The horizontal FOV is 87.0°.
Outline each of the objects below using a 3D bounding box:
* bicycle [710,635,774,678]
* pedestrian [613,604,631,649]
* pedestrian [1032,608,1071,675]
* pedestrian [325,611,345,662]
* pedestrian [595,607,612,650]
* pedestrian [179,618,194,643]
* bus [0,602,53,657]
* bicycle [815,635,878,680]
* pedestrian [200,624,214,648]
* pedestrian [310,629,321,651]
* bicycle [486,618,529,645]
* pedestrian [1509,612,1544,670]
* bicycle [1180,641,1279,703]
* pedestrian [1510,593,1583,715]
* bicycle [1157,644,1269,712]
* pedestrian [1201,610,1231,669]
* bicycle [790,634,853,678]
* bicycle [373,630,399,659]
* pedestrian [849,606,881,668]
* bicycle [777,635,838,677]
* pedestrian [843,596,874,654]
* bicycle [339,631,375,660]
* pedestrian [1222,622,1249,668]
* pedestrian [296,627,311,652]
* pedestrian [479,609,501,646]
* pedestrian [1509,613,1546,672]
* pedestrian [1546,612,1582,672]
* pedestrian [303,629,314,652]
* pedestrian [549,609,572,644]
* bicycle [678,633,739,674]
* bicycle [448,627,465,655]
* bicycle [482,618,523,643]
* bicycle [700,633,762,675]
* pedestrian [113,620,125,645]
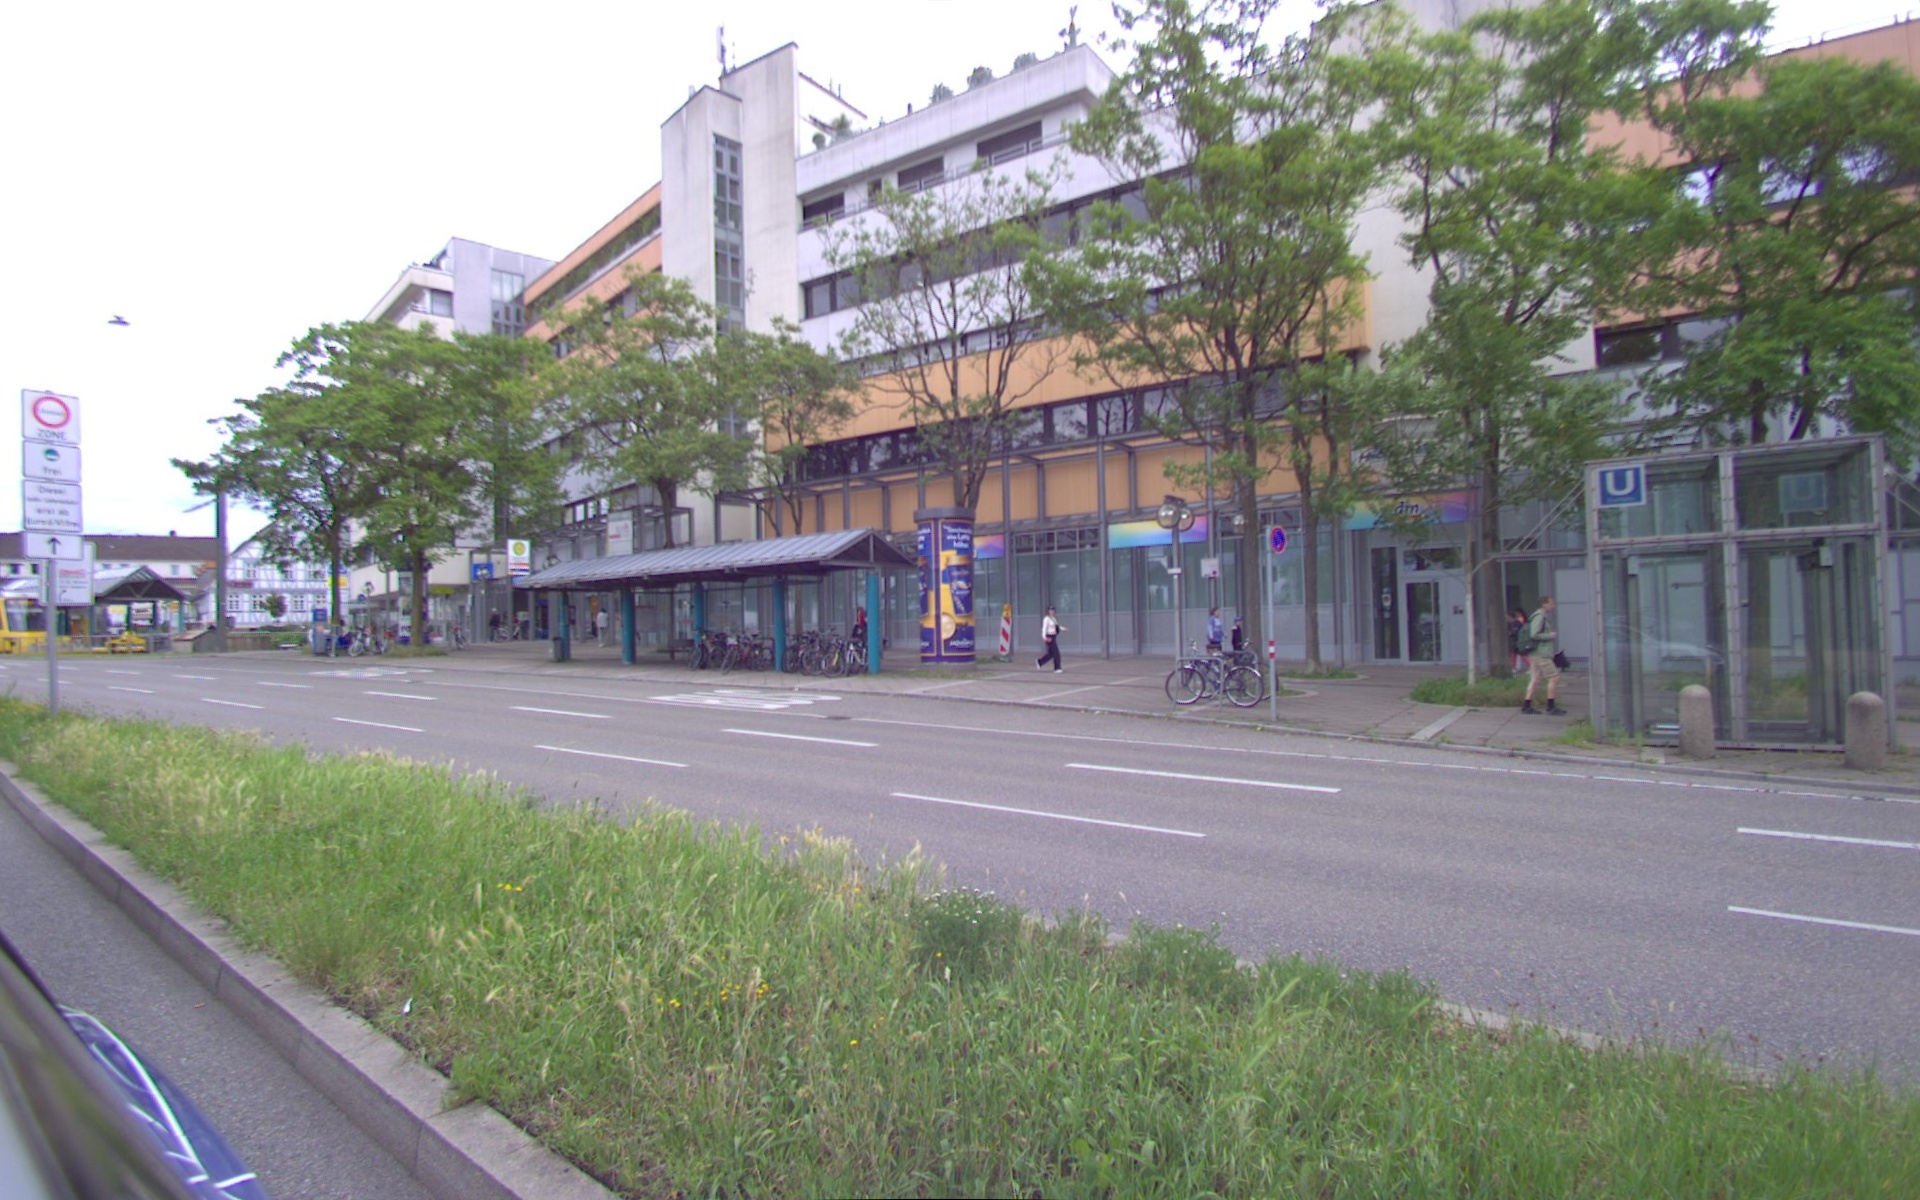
[{"bbox_3d":[-5.960,1.526,27.721,0.549,1.048,1.714,-2,1,38],"label":"bicycle"},{"bbox_3d":[-15.232,1.194,45.614,0.558,2.029,0.611,1,-2,-44],"label":"pedestrian"},{"bbox_3d":[2.309,1.039,25.580,0.721,1.662,0.669,-1,-1,37],"label":"pedestrian"},{"bbox_3d":[-28.821,1.677,46.667,0.608,2.325,0.583,-1,-2,39],"label":"pedestrian"},{"bbox_3d":[-15.472,1.239,43.906,0.639,1.823,0.761,0,-2,-16],"label":"pedestrian"},{"bbox_3d":[-62.962,2.485,82.396,0.867,2.029,1.010,1,-2,-44],"label":"pedestrian"},{"bbox_3d":[-55.980,1.682,58.617,8.470,3.006,2.530,-1,-2,29],"label":"bus"},{"bbox_3d":[-2.904,1.471,26.060,0.549,1.048,1.714,-2,0,38],"label":"bicycle"},{"bbox_3d":[-49.330,2.367,66.286,0.581,1.554,0.570,-1,-2,32],"label":"pedestrian"},{"bbox_3d":[-33.964,2.101,53.339,0.368,1.188,0.338,-1,-2,31],"label":"pedestrian"},{"bbox_3d":[-24.946,1.722,55.788,2.107,1.385,0.621,-1,0,-31],"label":"bicycle"},{"bbox_3d":[13.797,0.997,24.636,0.694,1.385,0.578,-1,-2,34],"label":"pedestrian"},{"bbox_3d":[4.984,1.310,18.789,1.737,1.074,0.542,-2,-1,45],"label":"bicycle"},{"bbox_3d":[9.142,0.829,15.809,0.916,1.846,0.533,-1,-2,25],"label":"pedestrian"},{"bbox_3d":[4.368,1.321,17.597,0.802,1.068,1.739,0,-1,-40],"label":"bicycle"},{"bbox_3d":[6.664,1.021,26.303,0.620,1.515,0.563,-1,-2,31],"label":"pedestrian"},{"bbox_3d":[-3.613,1.455,26.592,0.549,1.048,1.714,-2,0,38],"label":"bicycle"},{"bbox_3d":[-22.746,1.751,40.110,0.584,1.085,2.044,0,-1,-21],"label":"bicycle"},{"bbox_3d":[-2.795,1.081,29.749,0.769,1.800,0.525,-1,-2,33],"label":"pedestrian"},{"bbox_3d":[-4.137,1.512,27.560,0.549,1.048,1.714,-2,-1,38],"label":"bicycle"},{"bbox_3d":[-3.598,0.878,35.914,0.791,2.029,0.703,-1,0,31],"label":"pedestrian"},{"bbox_3d":[-23.613,1.763,39.652,0.585,1.085,2.042,0,-1,-12],"label":"bicycle"},{"bbox_3d":[7.342,1.191,26.975,0.620,1.190,0.418,-1,-2,31],"label":"pedestrian"},{"bbox_3d":[-41.563,2.490,64.079,0.581,1.554,0.570,-1,-2,32],"label":"pedestrian"},{"bbox_3d":[-23.703,1.380,51.090,0.752,1.859,0.755,-1,-2,41],"label":"pedestrian"},{"bbox_3d":[13.462,1.001,24.012,0.694,1.385,0.578,-1,-2,34],"label":"pedestrian"},{"bbox_3d":[14.369,0.989,24.080,0.694,1.385,0.578,-1,-2,34],"label":"pedestrian"},{"bbox_3d":[-34.114,2.103,53.016,0.368,1.188,0.338,-1,-2,31],"label":"pedestrian"},{"bbox_3d":[-19.504,1.300,49.403,0.752,1.695,0.755,-1,-2,41],"label":"pedestrian"},{"bbox_3d":[-7.233,1.532,29.148,0.549,1.048,1.714,-2,0,38],"label":"bicycle"},{"bbox_3d":[-21.350,1.705,42.929,0.584,1.134,2.044,1,-1,-26],"label":"bicycle"},{"bbox_3d":[-26.095,1.733,57.767,2.106,1.377,0.621,-1,0,-24],"label":"bicycle"},{"bbox_3d":[-6.454,1.509,28.583,0.549,1.048,1.714,-2,1,38],"label":"bicycle"},{"bbox_3d":[-67.973,2.600,81.825,0.731,2.029,0.940,1,-2,-39],"label":"pedestrian"}]
